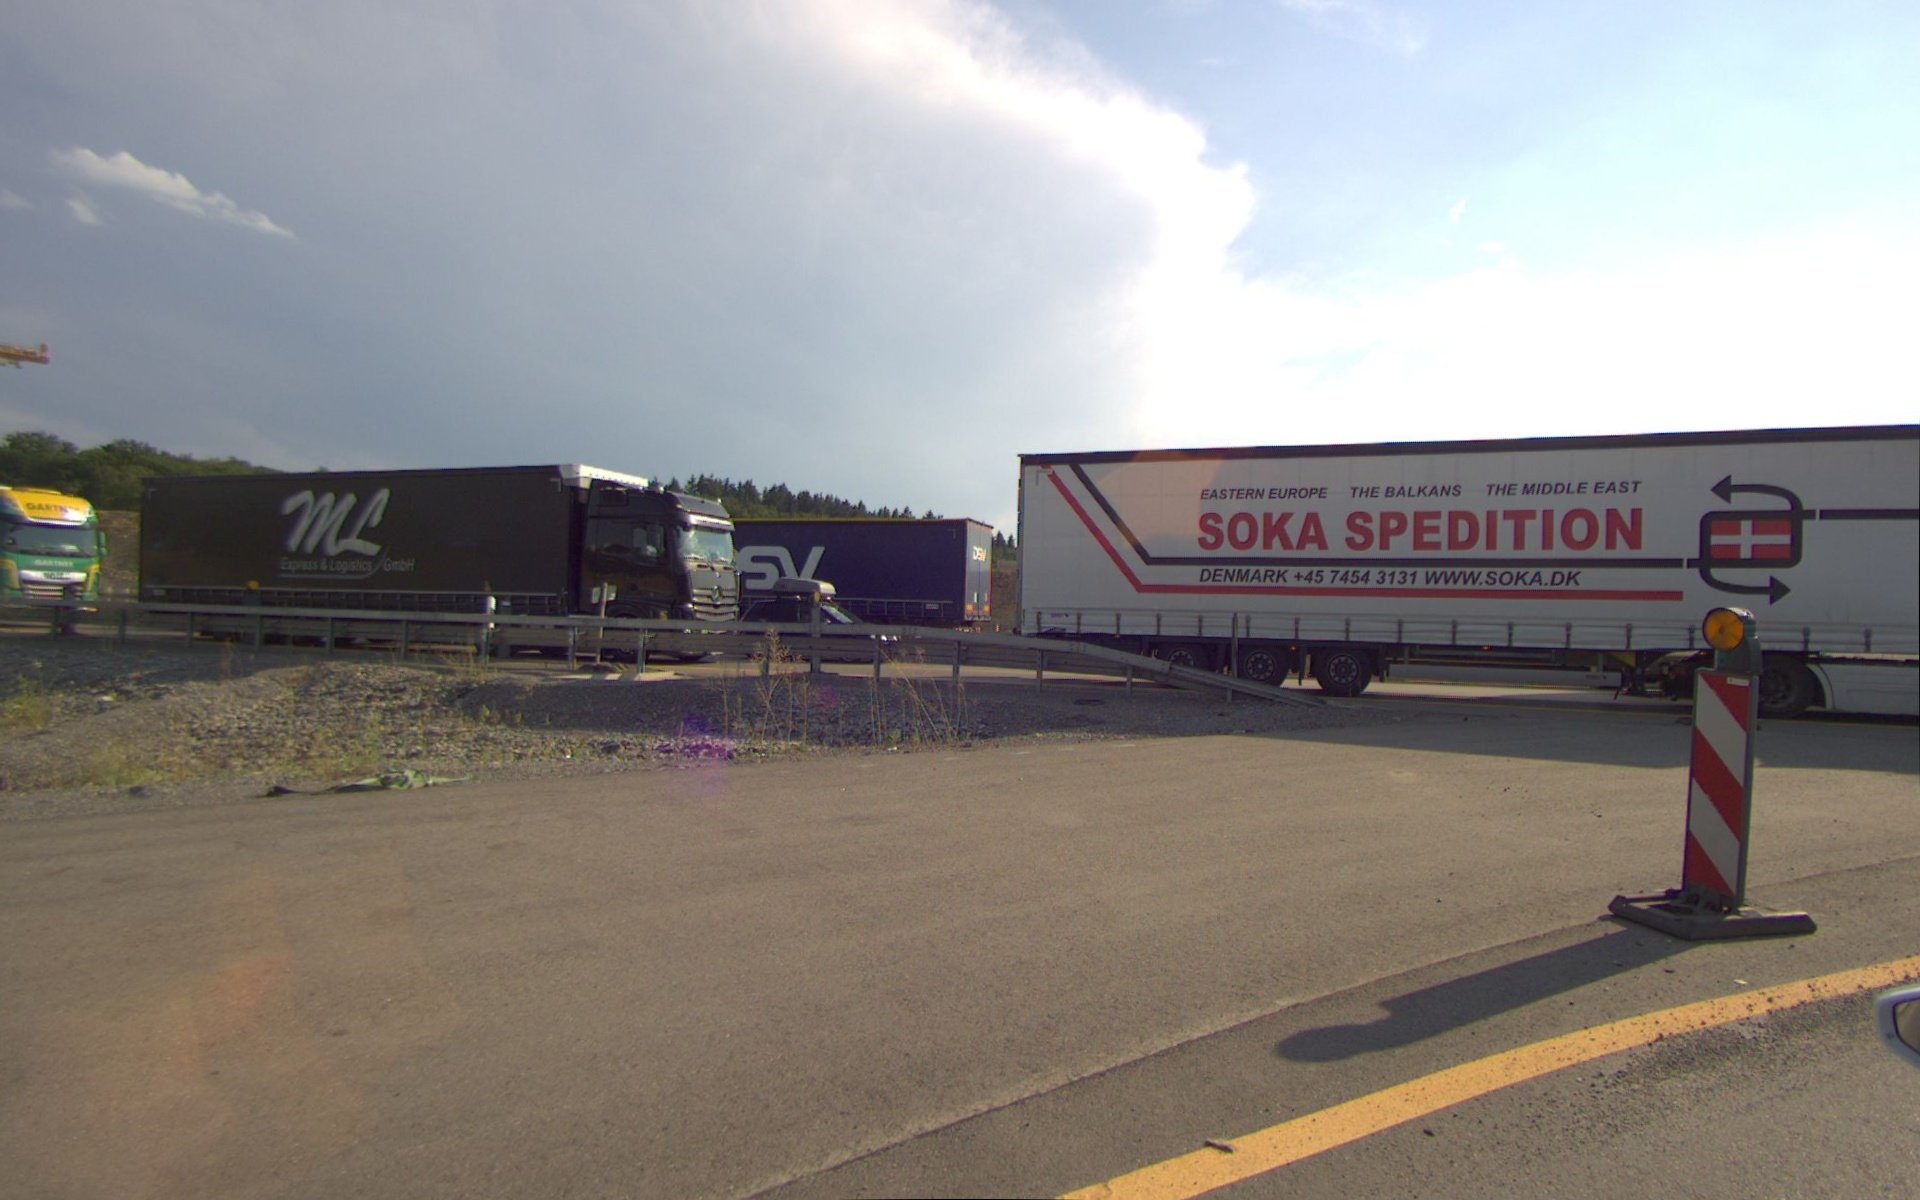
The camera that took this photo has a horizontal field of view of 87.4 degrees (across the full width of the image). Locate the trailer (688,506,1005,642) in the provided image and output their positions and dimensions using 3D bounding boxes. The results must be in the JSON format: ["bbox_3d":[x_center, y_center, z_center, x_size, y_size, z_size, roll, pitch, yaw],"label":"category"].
[{"bbox_3d":[-3.580,-0.845,31.500,9.382,3.800,3.017,2,-2,20],"label":"trailer"}]

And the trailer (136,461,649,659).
[{"bbox_3d":[-13.970,-1.035,24.252,13.361,4.115,2.489,2,-1,20],"label":"trailer"}]

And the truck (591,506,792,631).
[{"bbox_3d":[-8.889,-1.038,33.463,5.576,3.775,3.007,2,-2,20],"label":"truck"}]

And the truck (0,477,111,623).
[{"bbox_3d":[-28.233,-1.433,29.342,5.893,3.953,2.489,2,-1,20],"label":"truck"}]

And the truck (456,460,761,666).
[{"bbox_3d":[-7.708,-0.805,22.132,5.892,4.114,2.489,2,-1,18],"label":"truck"}]

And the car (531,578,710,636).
[{"bbox_3d":[-10.150,0.181,30.060,4.881,1.520,2.035,2,0,20],"label":"car"}]

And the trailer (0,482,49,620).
[{"bbox_3d":[-34.582,-1.690,31.595,13.700,4.011,2.489,2,-1,20],"label":"trailer"}]

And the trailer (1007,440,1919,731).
[{"bbox_3d":[7.612,-0.381,16.688,13.361,3.929,2.489,2,-1,19],"label":"trailer"}]

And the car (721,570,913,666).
[{"bbox_3d":[-3.420,0.430,24.095,4.245,2.040,1.527,2,-2,19],"label":"car"}]

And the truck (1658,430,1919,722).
[{"bbox_3d":[14.005,-0.263,14.479,5.892,3.929,2.489,2,-1,19],"label":"truck"}]

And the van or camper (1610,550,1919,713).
[{"bbox_3d":[15.344,0.548,18.016,5.786,2.654,2.000,2,-1,19],"label":"van or camper"}]
